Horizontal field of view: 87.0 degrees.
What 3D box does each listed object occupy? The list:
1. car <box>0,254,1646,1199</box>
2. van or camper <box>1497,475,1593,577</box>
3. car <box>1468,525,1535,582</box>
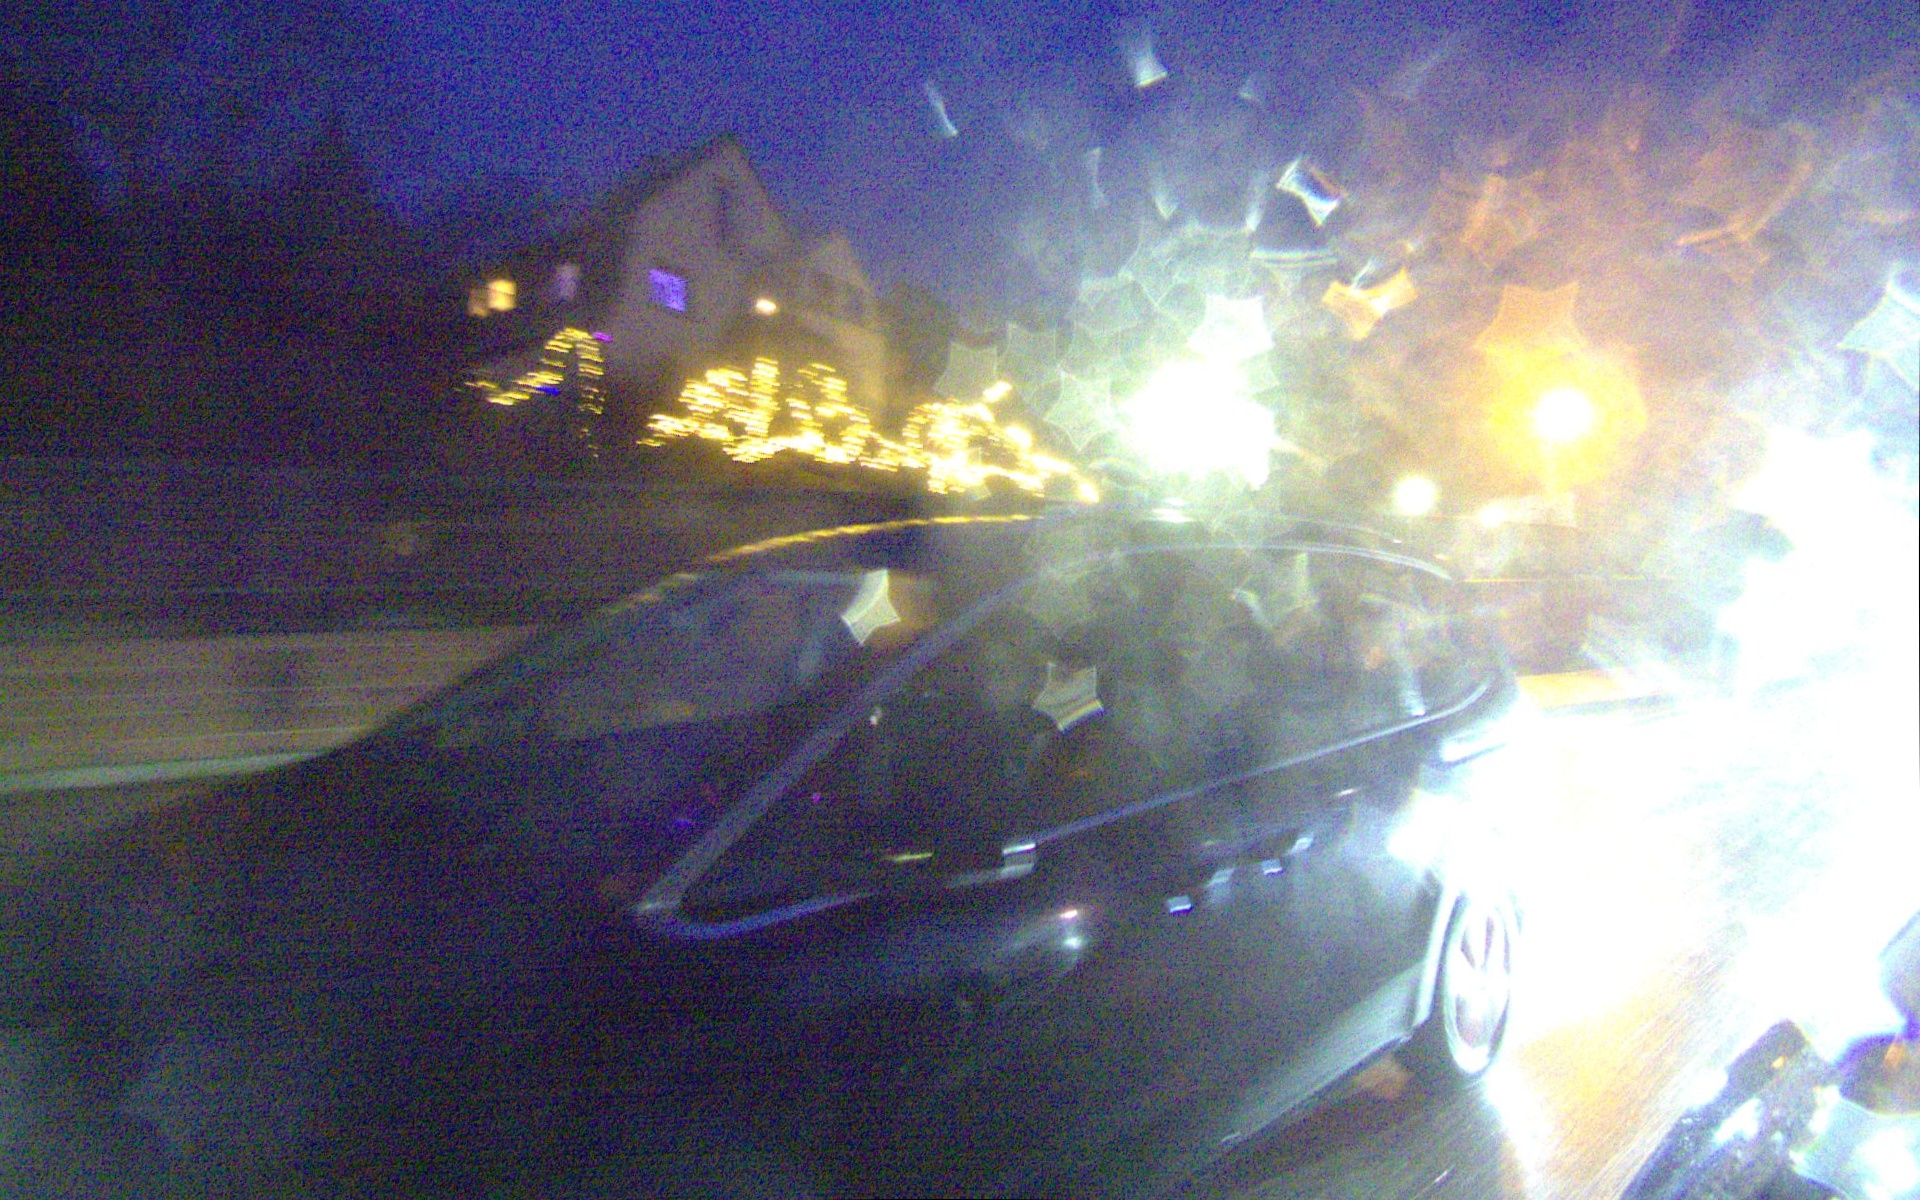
[{"bbox_3d":[0.034,0.568,2.765,4.855,1.757,1.838,-1,0,-41],"label":"car"},{"bbox_3d":[18.495,-2.187,32.057,2.395,2.828,5.711,-1,0,30],"label":"van or camper"},{"bbox_3d":[20.908,-1.728,39.004,1.985,2.039,3.953,-1,0,33],"label":"car"}]
